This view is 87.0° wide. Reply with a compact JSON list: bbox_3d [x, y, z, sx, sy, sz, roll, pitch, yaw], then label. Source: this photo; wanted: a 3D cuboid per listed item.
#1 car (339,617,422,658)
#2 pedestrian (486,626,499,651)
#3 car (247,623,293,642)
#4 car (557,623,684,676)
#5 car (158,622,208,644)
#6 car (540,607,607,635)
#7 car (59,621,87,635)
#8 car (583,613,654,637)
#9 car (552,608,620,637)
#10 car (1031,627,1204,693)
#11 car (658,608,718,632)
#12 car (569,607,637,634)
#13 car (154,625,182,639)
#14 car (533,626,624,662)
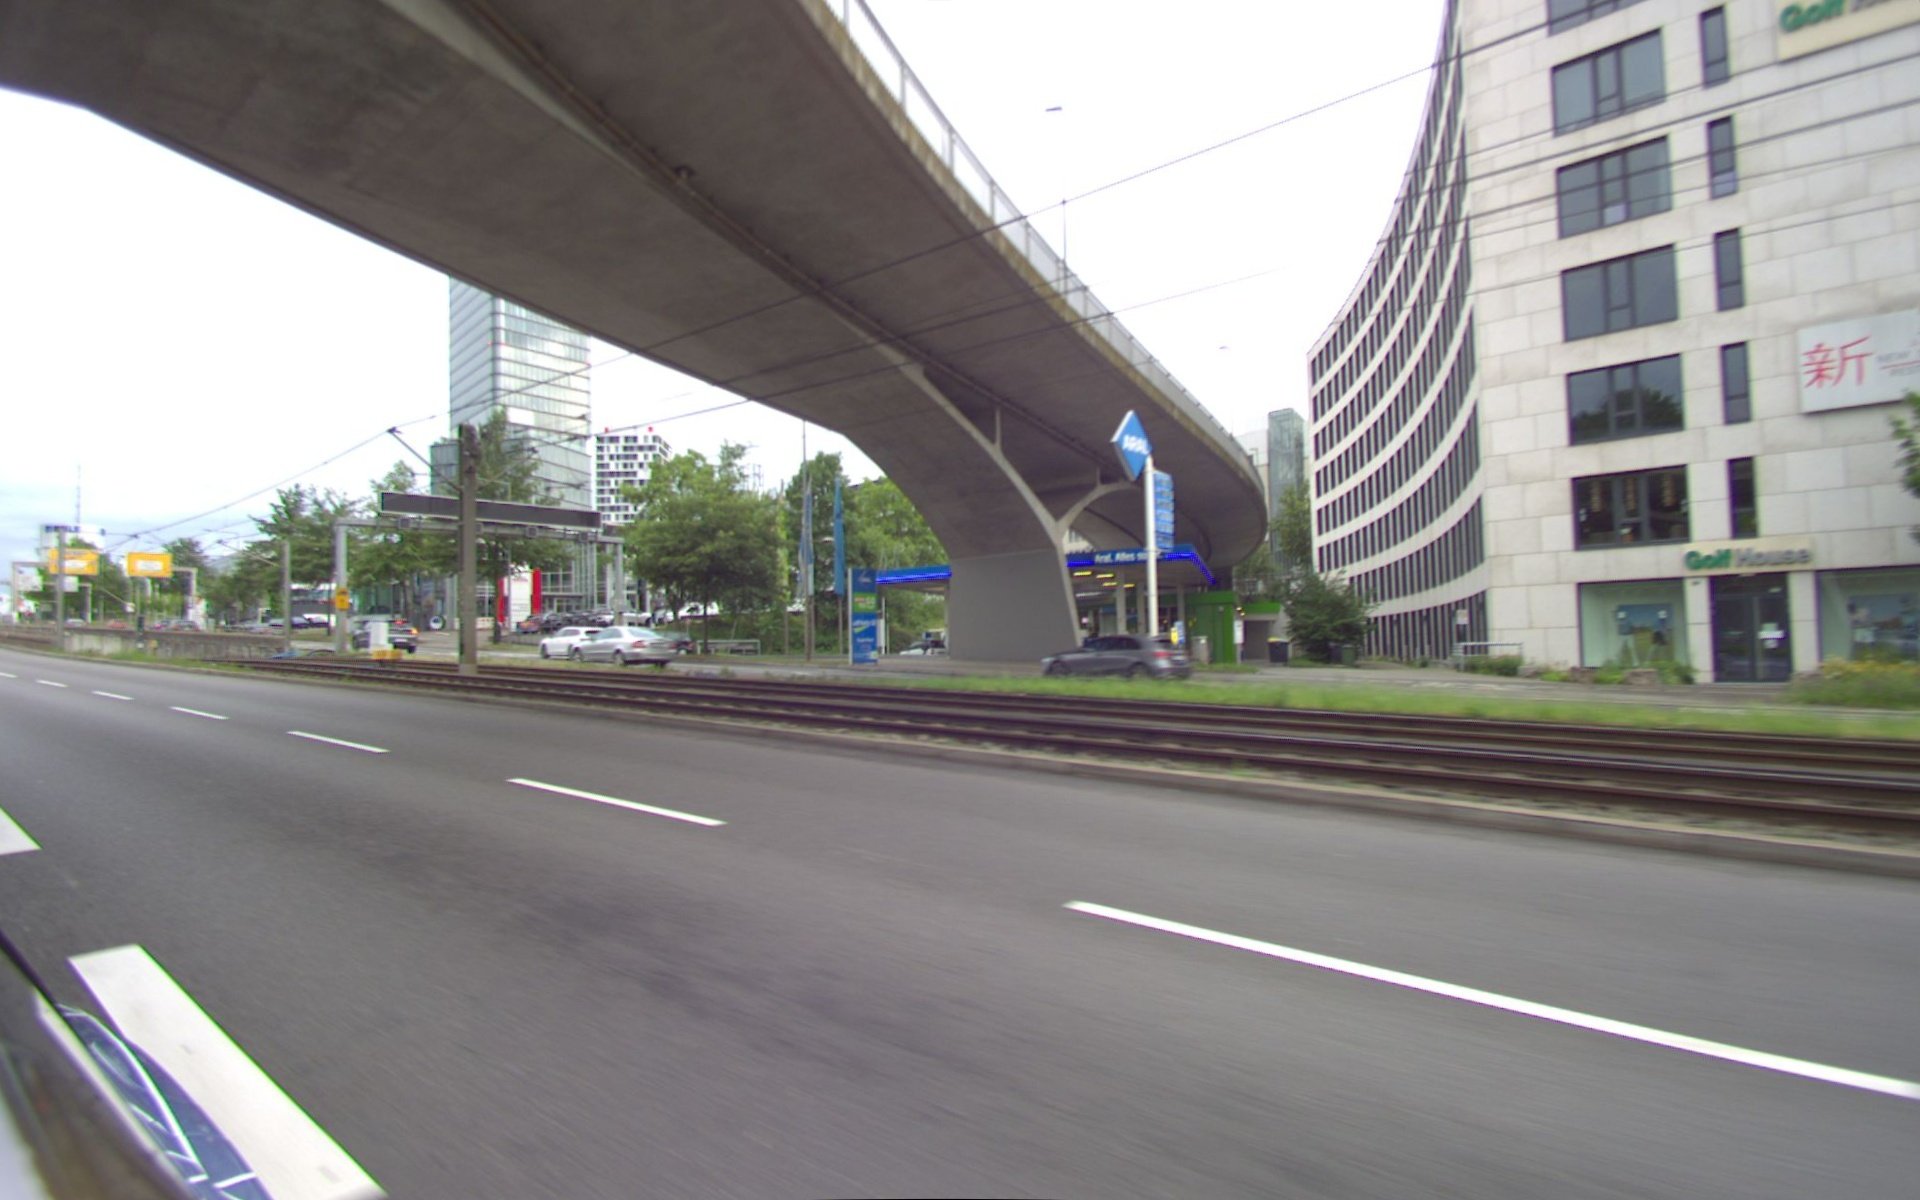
[{"bbox_3d":[-27.426,1.775,47.871,4.218,1.790,1.902,-2,-1,38],"label":"car"},{"bbox_3d":[-33.925,2.795,73.404,0.637,1.809,0.679,0,0,43],"label":"pedestrian"},{"bbox_3d":[-59.342,2.809,87.056,4.562,1.540,2.027,-2,-1,39],"label":"car"},{"bbox_3d":[-11.376,1.627,33.750,4.787,1.610,1.746,-2,-1,40],"label":"car"},{"bbox_3d":[-59.192,2.551,77.038,4.755,1.550,2.027,-2,-1,40],"label":"car"},{"bbox_3d":[-28.719,1.547,75.252,1.886,1.962,4.304,0,0,45],"label":"car"},{"bbox_3d":[-96.250,3.042,109.821,4.875,1.411,1.770,0,0,43],"label":"car"},{"bbox_3d":[-23.692,1.728,70.359,1.886,1.515,4.304,0,0,45],"label":"car"},{"bbox_3d":[-27.227,1.588,73.720,1.886,1.962,4.304,0,0,45],"label":"car"},{"bbox_3d":[4.265,1.603,27.860,4.490,1.610,1.745,-2,-1,43],"label":"car"},{"bbox_3d":[-21.627,1.571,80.542,1.886,1.828,4.304,0,0,45],"label":"car"},{"bbox_3d":[-25.206,1.435,71.581,1.886,1.785,4.139,0,0,45],"label":"car"},{"bbox_3d":[-85.053,3.454,108.698,4.112,1.319,1.747,0,0,43],"label":"car"},{"bbox_3d":[-17.110,1.999,45.303,4.657,1.509,1.899,-2,-5,43],"label":"car"}]
